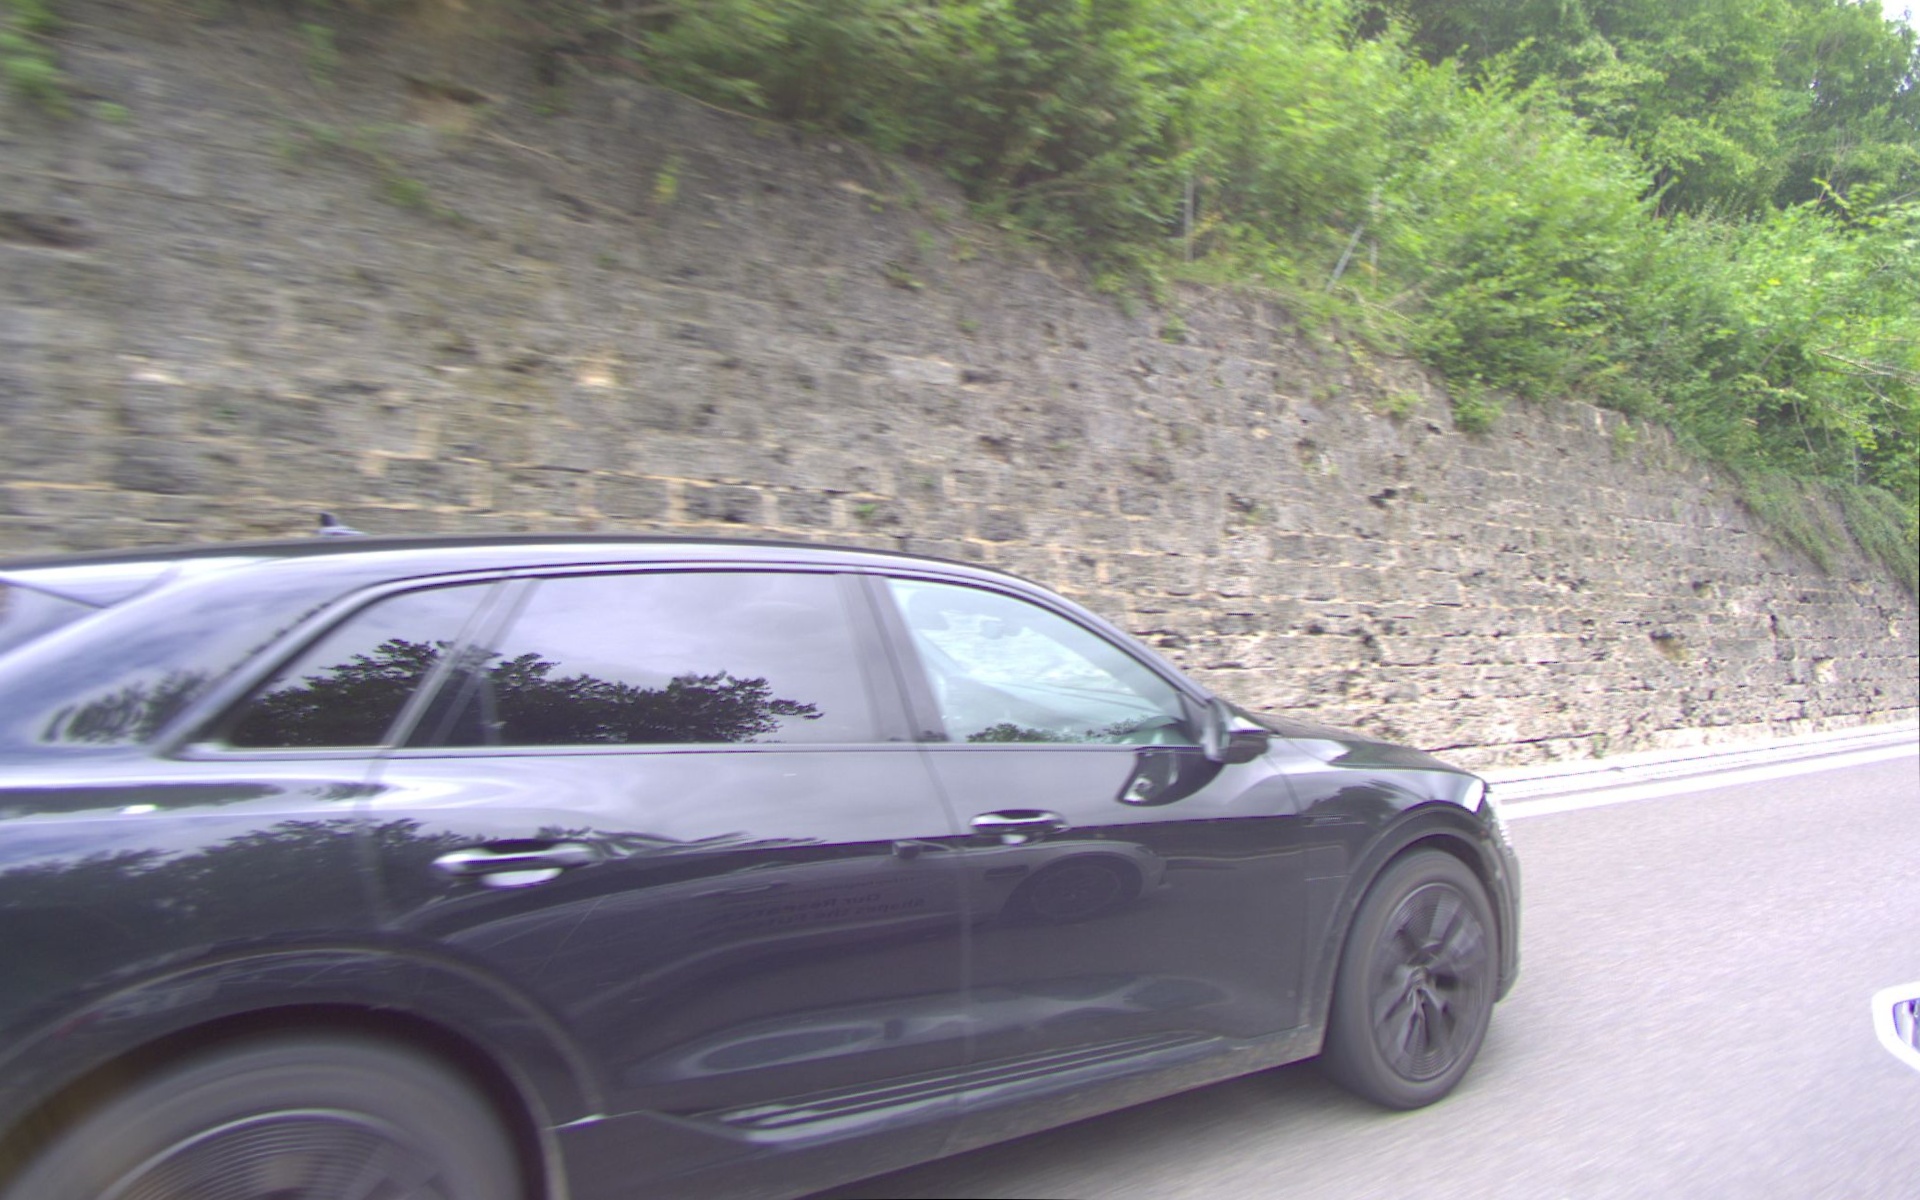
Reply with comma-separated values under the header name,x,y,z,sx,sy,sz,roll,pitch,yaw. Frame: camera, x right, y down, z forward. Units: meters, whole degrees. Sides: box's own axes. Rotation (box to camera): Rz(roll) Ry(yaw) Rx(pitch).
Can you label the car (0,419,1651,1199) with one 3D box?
name,x,y,z,sx,sy,sz,roll,pitch,yaw
car,-0.260,0.635,3.048,4.949,1.654,1.984,1,-1,-30
